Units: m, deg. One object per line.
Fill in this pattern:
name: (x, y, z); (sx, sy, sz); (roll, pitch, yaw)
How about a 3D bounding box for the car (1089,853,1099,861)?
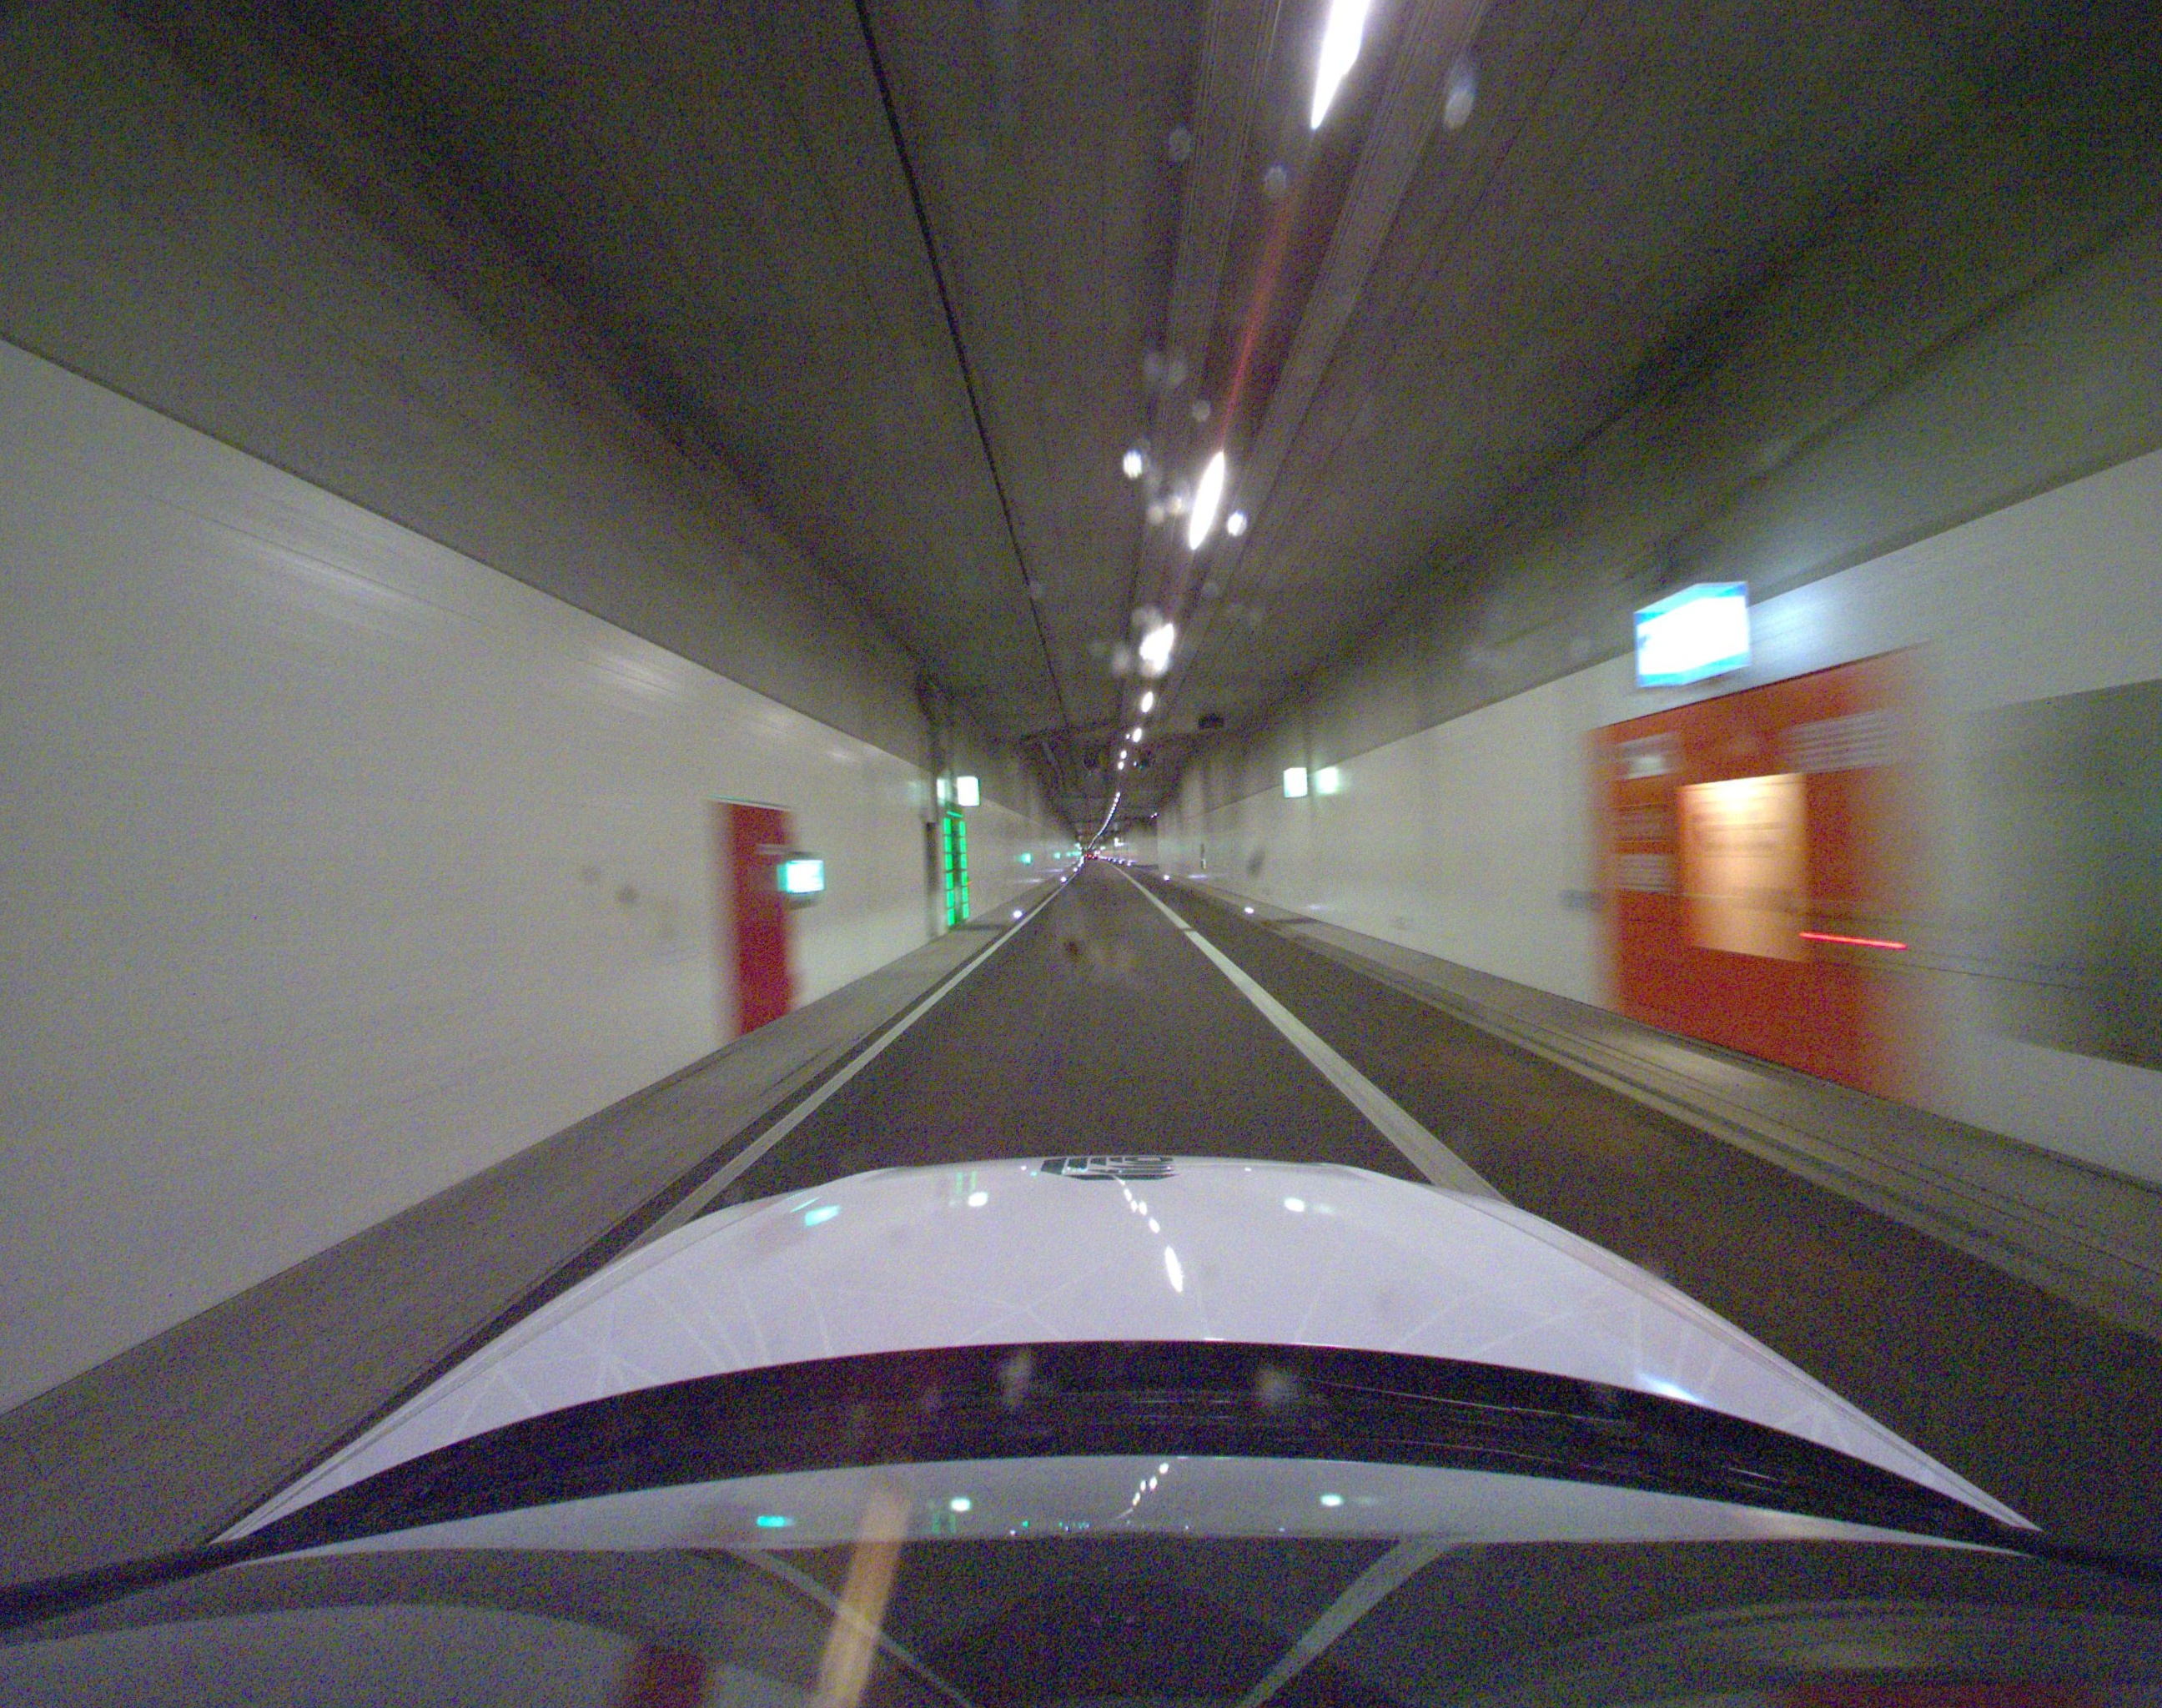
car: (2.555, 0.618, 162.778); (1.987, 1.420, 3.999); (0, 0, 0)
